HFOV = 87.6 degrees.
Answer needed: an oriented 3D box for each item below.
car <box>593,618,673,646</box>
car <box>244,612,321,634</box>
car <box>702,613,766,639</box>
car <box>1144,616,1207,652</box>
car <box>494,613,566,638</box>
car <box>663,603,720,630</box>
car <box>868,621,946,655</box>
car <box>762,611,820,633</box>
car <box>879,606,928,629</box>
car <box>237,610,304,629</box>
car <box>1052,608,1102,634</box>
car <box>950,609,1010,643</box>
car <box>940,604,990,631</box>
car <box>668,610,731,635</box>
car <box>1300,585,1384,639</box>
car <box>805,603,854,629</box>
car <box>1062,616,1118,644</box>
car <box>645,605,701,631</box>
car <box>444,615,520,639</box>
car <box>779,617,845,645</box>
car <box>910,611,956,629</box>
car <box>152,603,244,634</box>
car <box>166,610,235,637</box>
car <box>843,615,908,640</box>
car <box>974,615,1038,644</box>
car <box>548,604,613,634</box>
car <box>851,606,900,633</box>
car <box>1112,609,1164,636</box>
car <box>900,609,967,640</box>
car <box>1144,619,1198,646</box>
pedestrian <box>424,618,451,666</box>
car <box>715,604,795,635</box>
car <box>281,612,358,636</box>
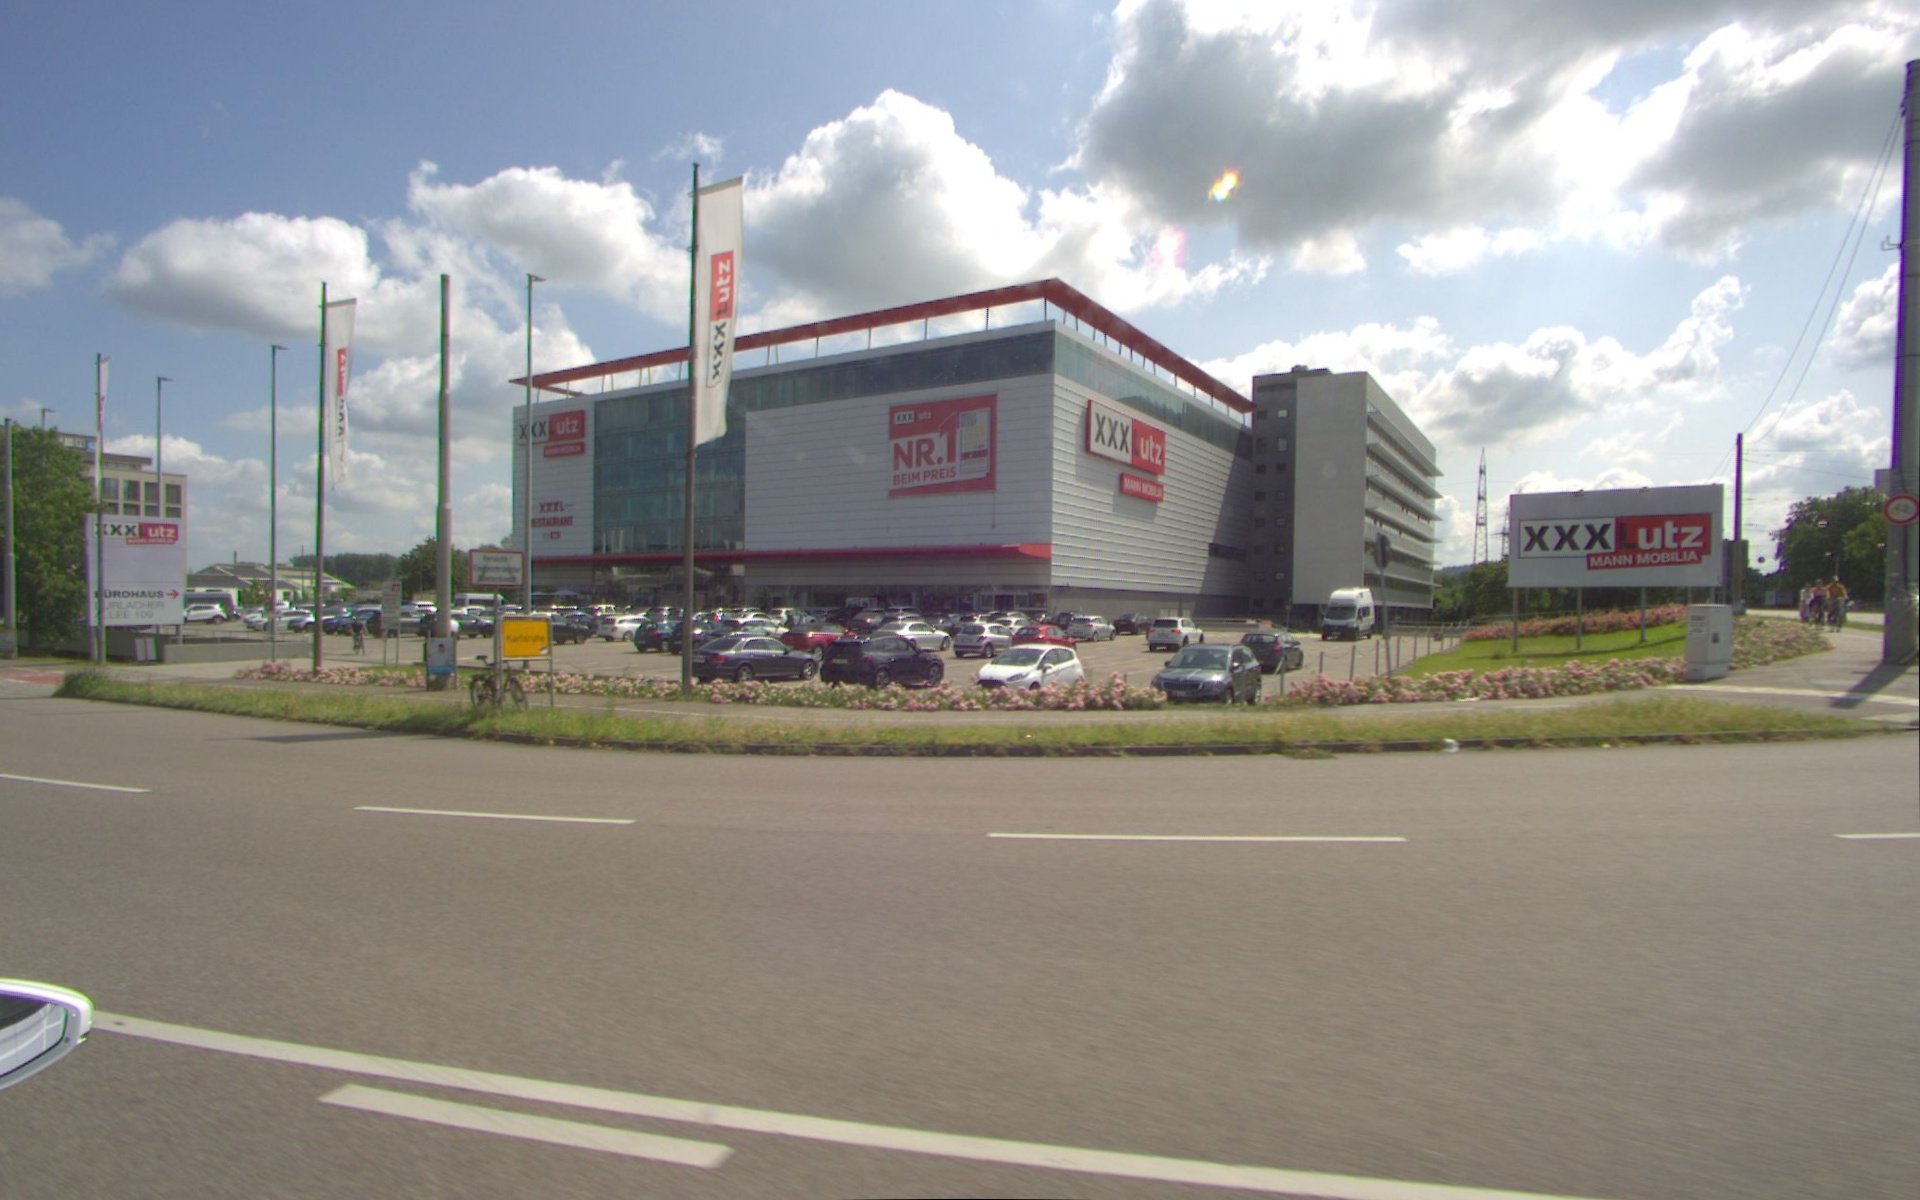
[{"bbox_3d":[-18.823,1.825,57.842,1.734,1.446,4.281,2,0,33],"label":"car"},{"bbox_3d":[-48.198,1.629,71.336,1.864,1.408,4.178,0,0,29],"label":"car"},{"bbox_3d":[-15.278,1.741,67.898,1.826,1.609,4.217,0,1,31],"label":"car"},{"bbox_3d":[10.740,1.664,49.800,1.826,1.609,4.217,0,1,31],"label":"car"},{"bbox_3d":[-27.189,1.591,63.421,1.702,1.483,3.979,0,0,31],"label":"car"},{"bbox_3d":[-20.800,1.269,77.722,1.971,2.040,3.980,0,-1,32],"label":"car"},{"bbox_3d":[-2.432,1.725,46.832,1.580,1.381,4.013,1,1,34],"label":"car"},{"bbox_3d":[-12.166,1.601,72.302,1.681,1.530,4.333,0,-1,32],"label":"car"},{"bbox_3d":[-4.482,1.414,79.317,1.971,1.746,3.982,0,-1,31],"label":"car"},{"bbox_3d":[-55.951,1.561,81.317,1.701,1.453,4.175,0,1,32],"label":"car"},{"bbox_3d":[8.396,1.529,71.623,1.973,1.761,3.977,0,-1,34],"label":"car"},{"bbox_3d":[1.271,1.647,63.002,1.972,2.039,3.979,-1,-2,33],"label":"car"},{"bbox_3d":[0.426,1.348,75.965,1.971,2.040,3.980,0,-1,32],"label":"car"},{"bbox_3d":[-18.038,1.537,69.473,1.826,1.609,4.217,0,1,31],"label":"car"},{"bbox_3d":[24.159,0.789,63.101,3.081,3.195,7.857,-1,-1,35],"label":"car"},{"bbox_3d":[-10.851,1.362,83.371,1.971,2.040,3.982,0,-1,31],"label":"car"},{"bbox_3d":[7.693,1.744,58.946,1.891,1.550,3.983,0,-1,30],"label":"car"},{"bbox_3d":[-22.846,1.454,79.717,1.971,2.040,3.980,0,-1,32],"label":"car"},{"bbox_3d":[-31.273,1.764,65.626,1.734,1.483,4.233,0,-1,31],"label":"car"},{"bbox_3d":[-8.729,1.809,59.417,1.670,1.608,4.009,1,0,31],"label":"car"},{"bbox_3d":[-2.047,1.573,77.731,1.694,1.361,3.855,0,-1,32],"label":"car"},{"bbox_3d":[-62.540,1.563,82.307,2.031,2.396,5.651,-1,-2,31],"label":"car"},{"bbox_3d":[-60.682,1.821,80.032,1.972,2.040,3.977,0,1,33],"label":"car"},{"bbox_3d":[-5.125,1.675,61.273,1.972,1.527,3.978,-1,-1,33],"label":"car"},{"bbox_3d":[2.816,1.763,59.998,1.972,1.608,4.217,0,-1,33],"label":"car"},{"bbox_3d":[-27.301,1.394,72.079,1.972,2.040,3.979,0,-1,33],"label":"car"},{"bbox_3d":[-6.762,1.582,80.700,1.971,2.040,3.982,0,-1,31],"label":"car"},{"bbox_3d":[12.152,1.538,68.209,1.973,1.761,3.977,0,-1,34],"label":"car"},{"bbox_3d":[-1.491,1.435,58.532,1.973,1.761,3.977,-1,-1,34],"label":"car"},{"bbox_3d":[11.984,1.845,56.667,1.891,1.459,3.983,0,-2,30],"label":"car"},{"bbox_3d":[-20.182,1.615,38.683,0.859,1.805,0.781,1,0,-27],"label":"pedestrian"},{"bbox_3d":[-10.769,1.043,52.839,1.800,1.527,4.141,0,-1,33],"label":"car"},{"bbox_3d":[-44.106,1.678,69.025,1.970,1.591,3.983,-1,-2,30],"label":"car"}]
